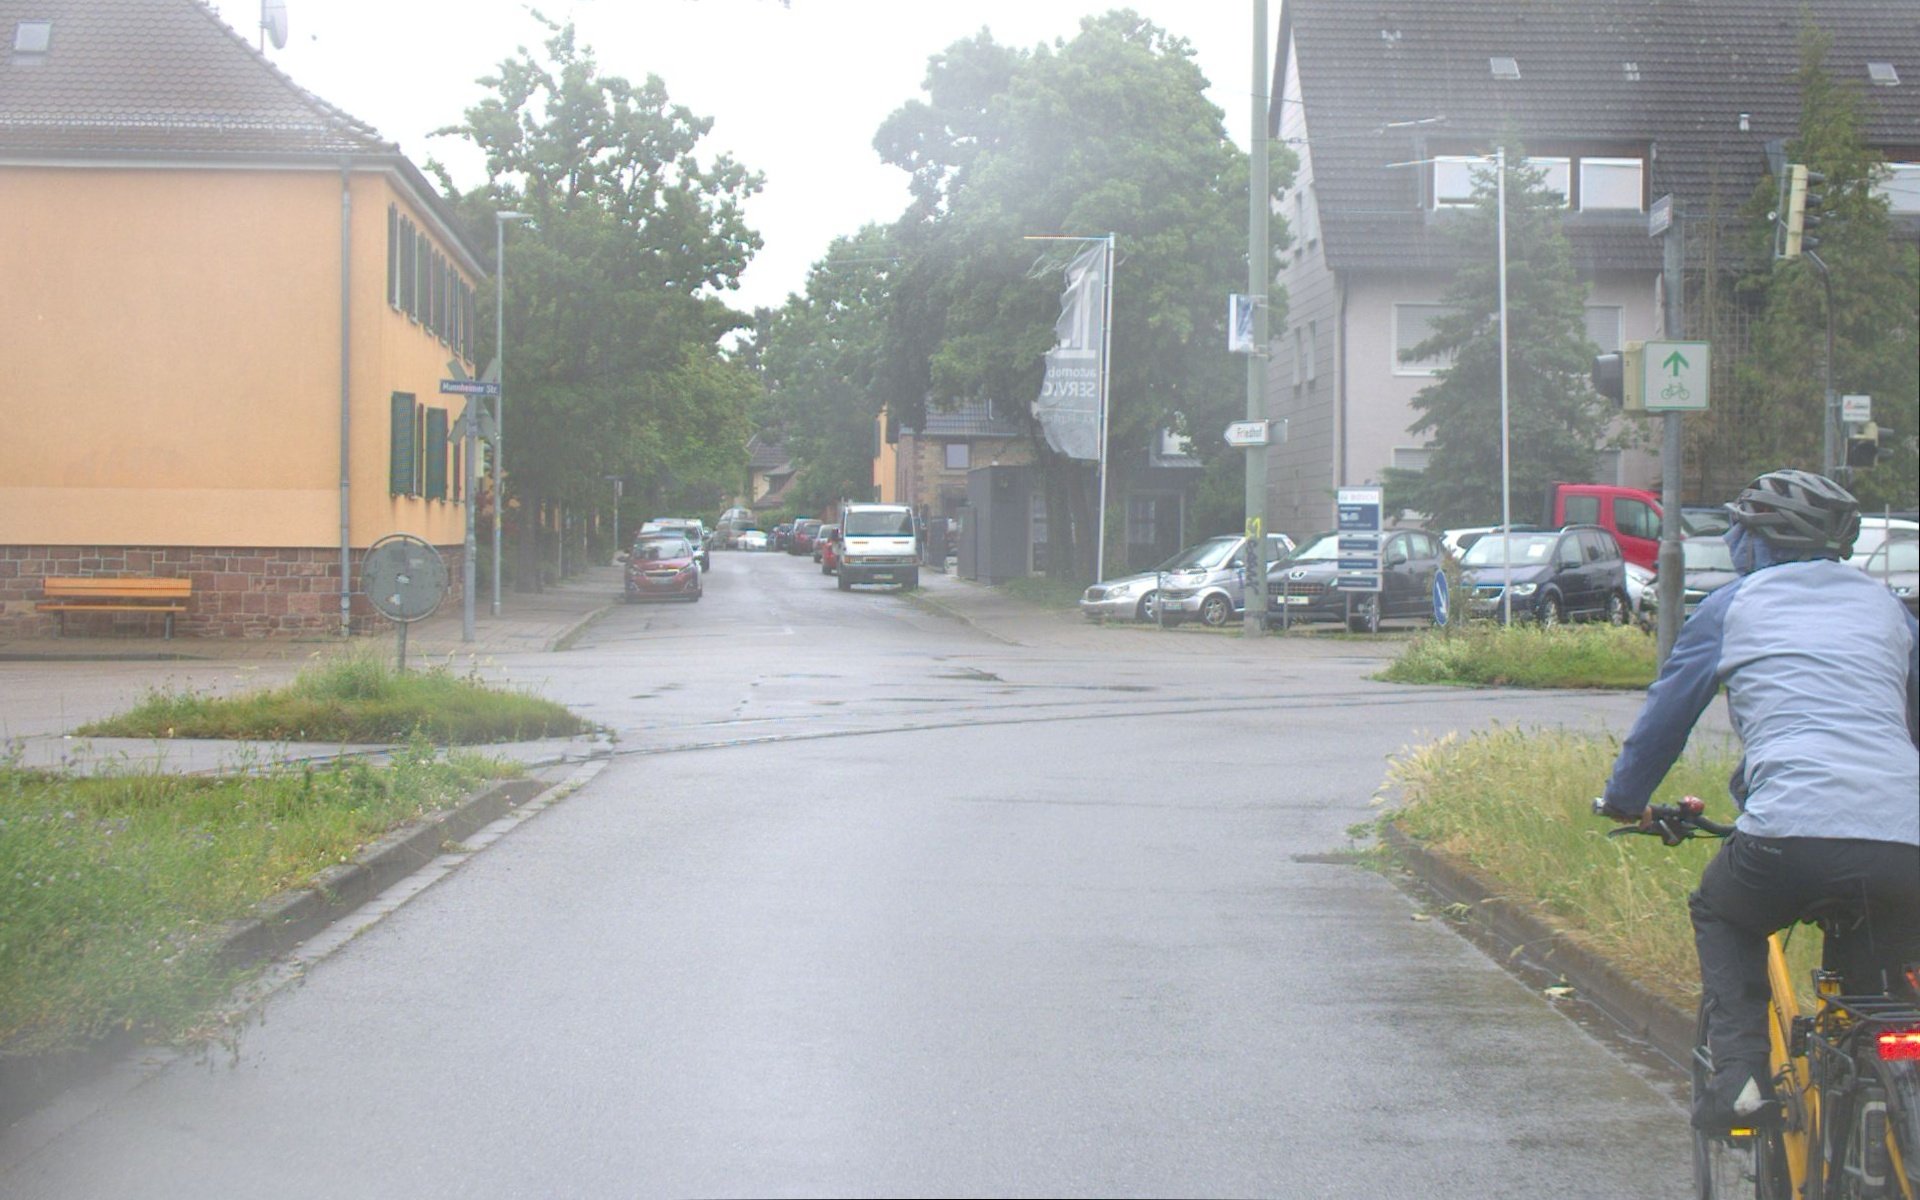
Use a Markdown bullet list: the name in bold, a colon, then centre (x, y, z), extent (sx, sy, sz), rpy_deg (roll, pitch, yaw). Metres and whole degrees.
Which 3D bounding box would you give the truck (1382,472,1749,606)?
- **truck**: centre (10.579, -1.057, 60.101), extent (6.088, 2.264, 1.998), rpy_deg (0, 0, 18)

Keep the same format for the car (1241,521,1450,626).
- **car**: centre (6.049, -0.442, 53.564), extent (1.805, 1.573, 3.865), rpy_deg (0, 1, 31)

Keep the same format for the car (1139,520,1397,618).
- **car**: centre (5.111, -0.536, 57.044), extent (3.858, 1.573, 1.808), rpy_deg (-1, 1, -21)

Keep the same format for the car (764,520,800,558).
- **car**: centre (-9.910, -3.390, 191.192), extent (1.828, 2.007, 4.001), rpy_deg (2, 1, -4)

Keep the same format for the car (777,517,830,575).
- **car**: centre (-5.758, -1.998, 126.411), extent (1.828, 2.007, 4.001), rpy_deg (2, 1, -3)

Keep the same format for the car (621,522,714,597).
- **car**: centre (-6.470, -0.906, 76.451), extent (1.993, 1.612, 4.001), rpy_deg (1, 1, -4)

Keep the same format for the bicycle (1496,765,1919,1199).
- **bicycle**: centre (1.503, 0.902, 6.266), extent (0.752, 1.069, 1.927), rpy_deg (-1, 1, 0)

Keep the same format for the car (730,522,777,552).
- **car**: centre (-12.567, -3.849, 209.417), extent (1.828, 1.691, 4.033), rpy_deg (2, 1, -18)

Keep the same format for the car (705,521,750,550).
- **car**: centre (-14.525, -4.036, 214.799), extent (1.828, 1.691, 4.033), rpy_deg (2, 1, -18)

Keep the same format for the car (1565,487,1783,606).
- **car**: centre (10.746, -0.805, 51.577), extent (1.997, 1.711, 3.993), rpy_deg (1, 1, 31)

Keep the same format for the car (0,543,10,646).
- **car**: centre (-14.158, -0.133, 43.901), extent (3.604, 1.334, 1.723), rpy_deg (2, 1, -4)

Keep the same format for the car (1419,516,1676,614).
- **car**: centre (9.823, -0.591, 57.399), extent (3.969, 1.592, 1.998), rpy_deg (0, 0, 18)

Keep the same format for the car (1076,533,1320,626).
- **car**: centre (4.158, -0.375, 60.138), extent (3.858, 1.573, 1.808), rpy_deg (-1, 1, -21)

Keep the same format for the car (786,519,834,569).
- **car**: centre (-6.388, -2.390, 145.866), extent (1.828, 2.007, 4.001), rpy_deg (2, 1, -4)

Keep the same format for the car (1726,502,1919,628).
- **car**: centre (14.996, -0.567, 56.346), extent (4.432, 2.007, 2.000), rpy_deg (0, 0, 1)

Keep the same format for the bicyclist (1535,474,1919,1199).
- **bicyclist**: centre (1.493, 0.521, 6.226), extent (0.751, 1.480, 0.846), rpy_deg (-1, 1, 0)

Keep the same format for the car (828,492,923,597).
- **car**: centre (-2.207, -1.446, 88.770), extent (2.153, 2.563, 4.134), rpy_deg (2, 1, -4)

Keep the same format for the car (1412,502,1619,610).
- **car**: centre (8.478, -0.690, 52.229), extent (1.805, 1.573, 3.865), rpy_deg (0, 1, 31)

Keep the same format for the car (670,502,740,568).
- **car**: centre (-8.171, -2.094, 110.334), extent (1.993, 2.007, 4.001), rpy_deg (2, 1, -2)

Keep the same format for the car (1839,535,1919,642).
- **car**: centre (14.593, -0.148, 51.603), extent (1.830, 1.499, 4.052), rpy_deg (3, 1, 27)

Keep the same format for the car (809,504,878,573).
- **car**: centre (-3.602, -1.890, 106.051), extent (1.993, 2.007, 4.001), rpy_deg (2, 1, -2)
